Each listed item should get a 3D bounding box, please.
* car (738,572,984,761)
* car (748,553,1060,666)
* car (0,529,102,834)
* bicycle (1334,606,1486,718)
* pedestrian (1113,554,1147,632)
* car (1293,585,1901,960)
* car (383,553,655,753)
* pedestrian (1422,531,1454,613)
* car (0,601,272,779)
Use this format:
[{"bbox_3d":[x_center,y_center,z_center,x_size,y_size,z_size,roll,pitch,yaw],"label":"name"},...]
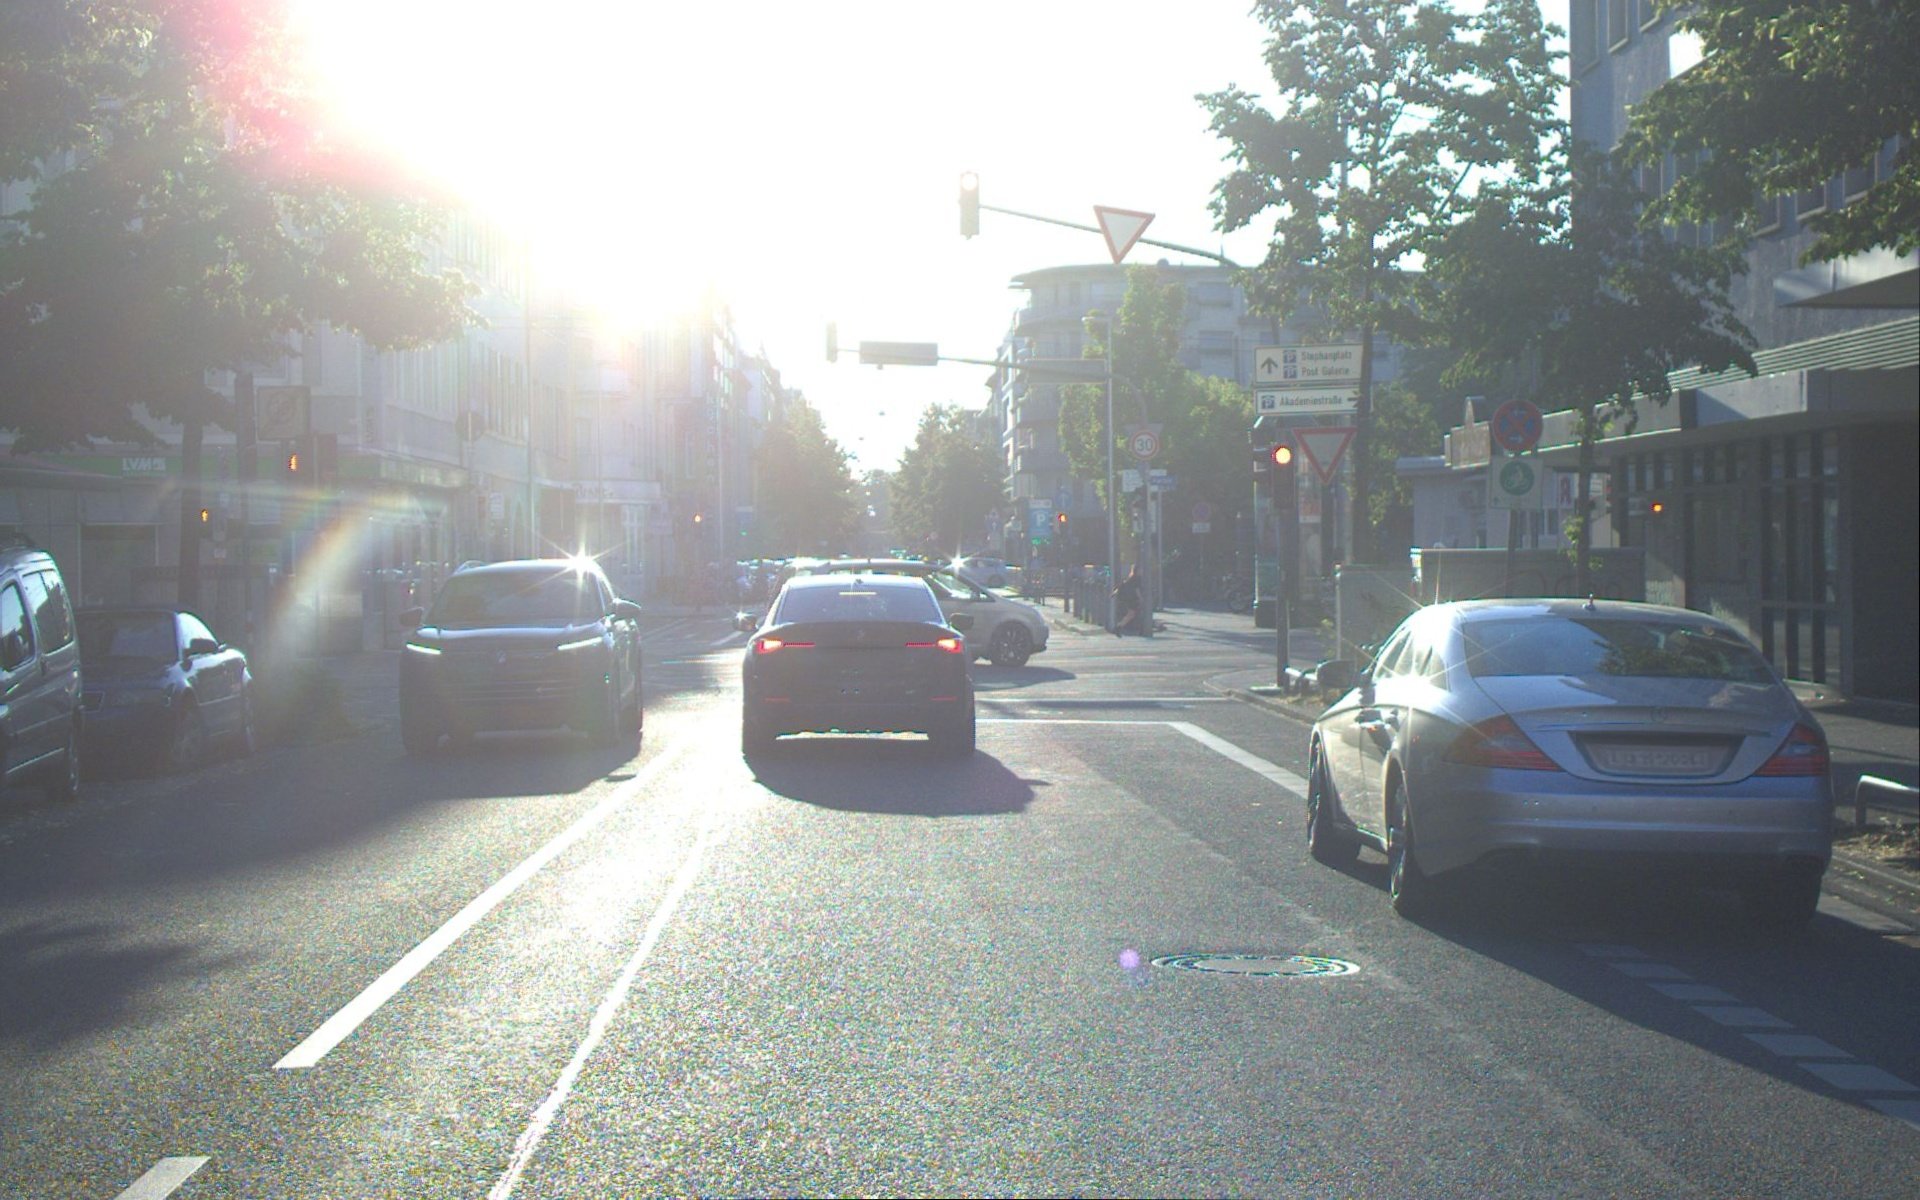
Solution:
[{"bbox_3d":[-0.782,0.493,28.546,1.883,1.410,4.325,0,1,-1],"label":"car"},{"bbox_3d":[-0.845,0.110,51.919,4.310,1.596,1.929,-1,2,-26],"label":"car"},{"bbox_3d":[-6.838,0.480,22.197,1.832,1.848,4.124,0,1,-4],"label":"car"},{"bbox_3d":[4.768,0.656,36.489,1.538,1.142,0.381,1,2,0],"label":"bicycle"},{"bbox_3d":[3.624,-0.145,73.339,0.573,1.639,0.528,-1,2,-22],"label":"pedestrian"},{"bbox_3d":[2.795,0.688,16.162,1.922,1.410,4.548,2,1,-1],"label":"car"},{"bbox_3d":[-3.867,0.410,30.808,1.922,1.596,4.325,0,2,-1],"label":"car"},{"bbox_3d":[10.044,-0.587,72.203,0.494,1.709,0.462,-1,2,-20],"label":"pedestrian"},{"bbox_3d":[-6.876,0.682,28.040,1.833,1.323,4.124,0,0,-2],"label":"car"}]
